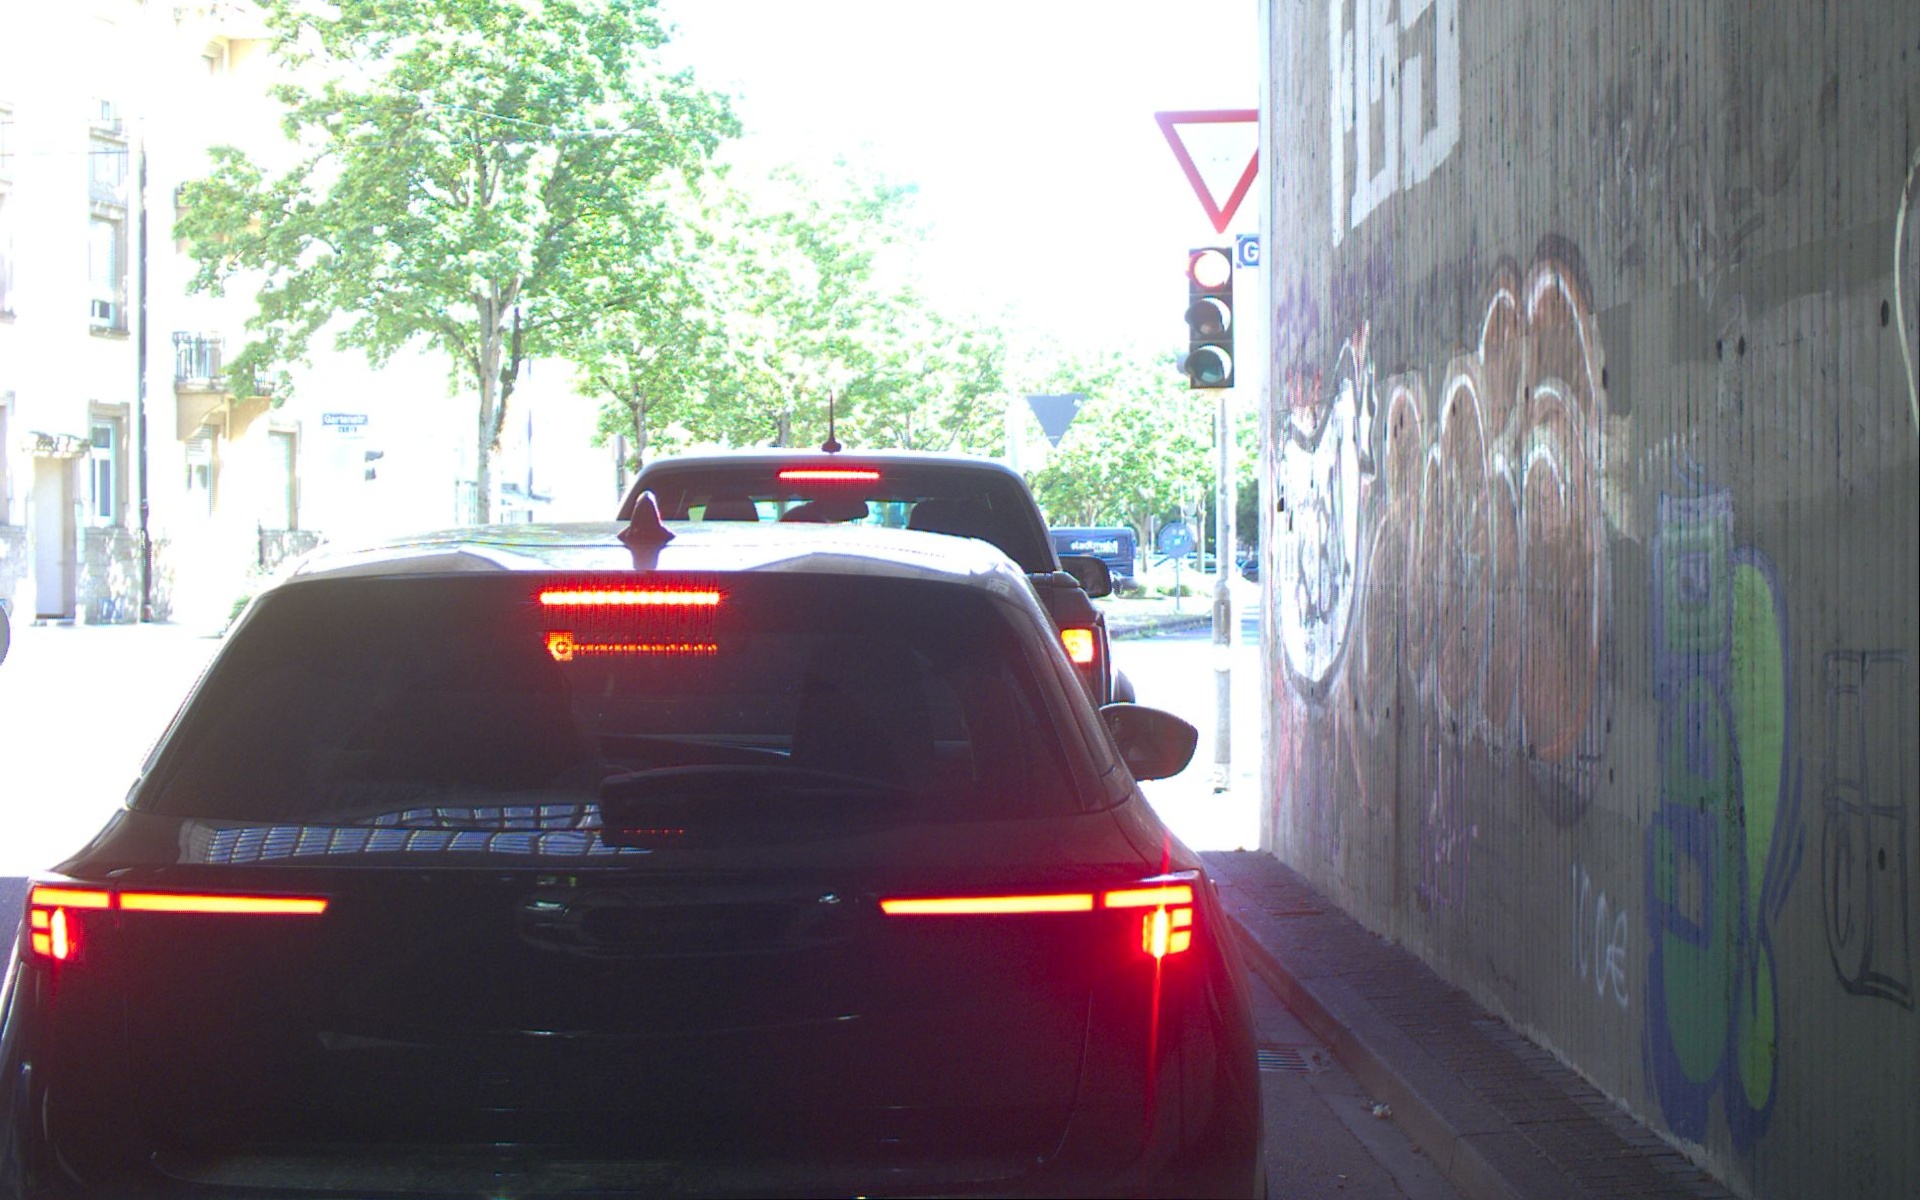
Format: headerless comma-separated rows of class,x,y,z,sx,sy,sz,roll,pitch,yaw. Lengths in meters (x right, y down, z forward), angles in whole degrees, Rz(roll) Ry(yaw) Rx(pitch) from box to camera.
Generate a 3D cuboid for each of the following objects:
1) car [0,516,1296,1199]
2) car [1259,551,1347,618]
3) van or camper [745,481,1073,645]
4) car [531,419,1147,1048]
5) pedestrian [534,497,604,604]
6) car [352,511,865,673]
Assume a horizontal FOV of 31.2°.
car,-0.491,0.617,6.169,1.753,1.493,4.000,1,1,0
car,8.714,-0.423,87.641,1.994,1.635,4.593,0,1,3
van or camper,-0.605,-0.465,43.308,3.878,2.007,2.000,0,1,7
car,-0.372,0.356,12.071,1.786,1.827,3.961,1,1,0
pedestrian,-5.842,-0.740,51.390,0.736,1.579,0.889,1,0,15
car,-3.516,-0.116,34.528,4.718,1.529,2.000,-1,1,-27
